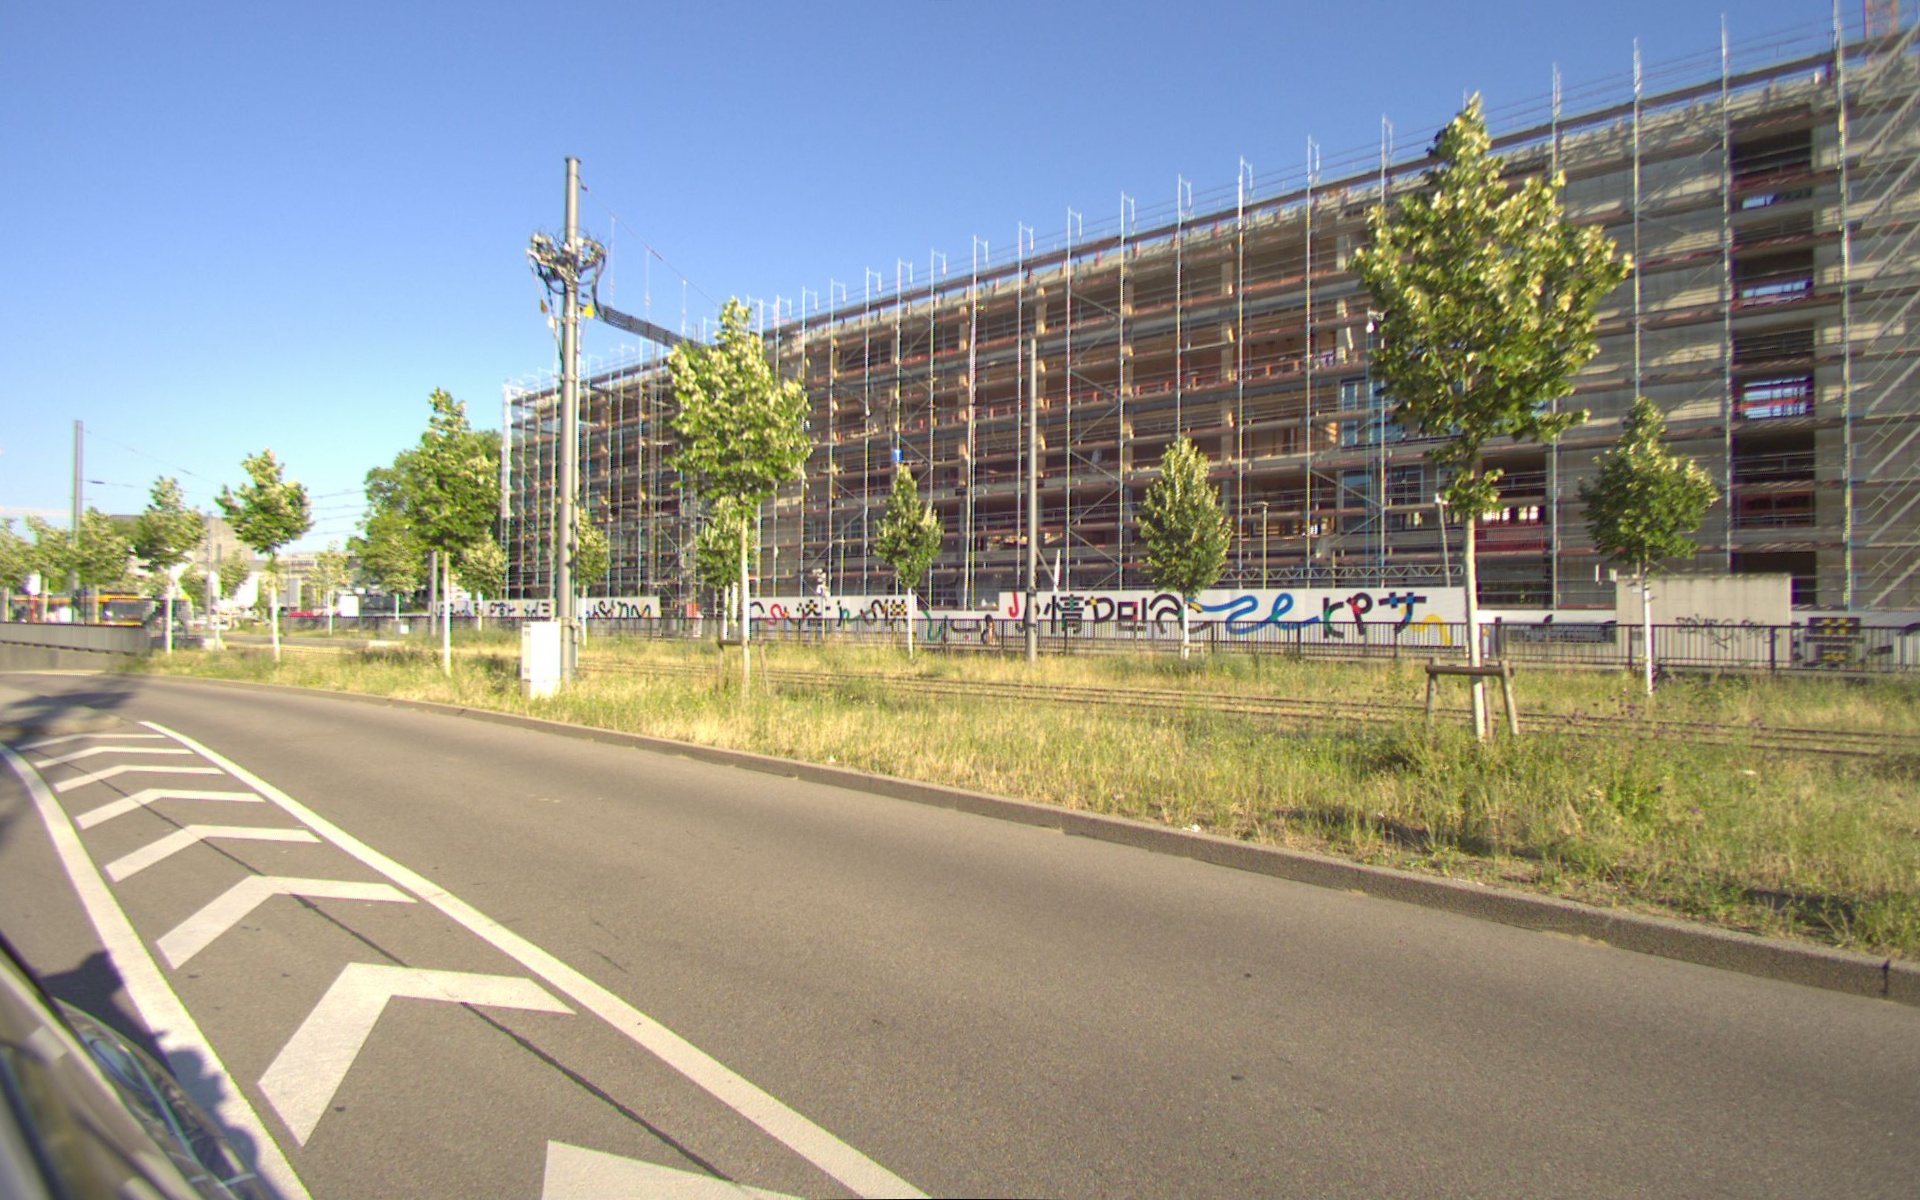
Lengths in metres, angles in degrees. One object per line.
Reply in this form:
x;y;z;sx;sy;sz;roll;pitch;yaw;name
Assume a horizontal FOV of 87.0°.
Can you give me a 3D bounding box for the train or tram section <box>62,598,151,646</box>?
-65.047;1.592;76.972;12.620;3.423;2.917;-1;0;39;train or tram section
